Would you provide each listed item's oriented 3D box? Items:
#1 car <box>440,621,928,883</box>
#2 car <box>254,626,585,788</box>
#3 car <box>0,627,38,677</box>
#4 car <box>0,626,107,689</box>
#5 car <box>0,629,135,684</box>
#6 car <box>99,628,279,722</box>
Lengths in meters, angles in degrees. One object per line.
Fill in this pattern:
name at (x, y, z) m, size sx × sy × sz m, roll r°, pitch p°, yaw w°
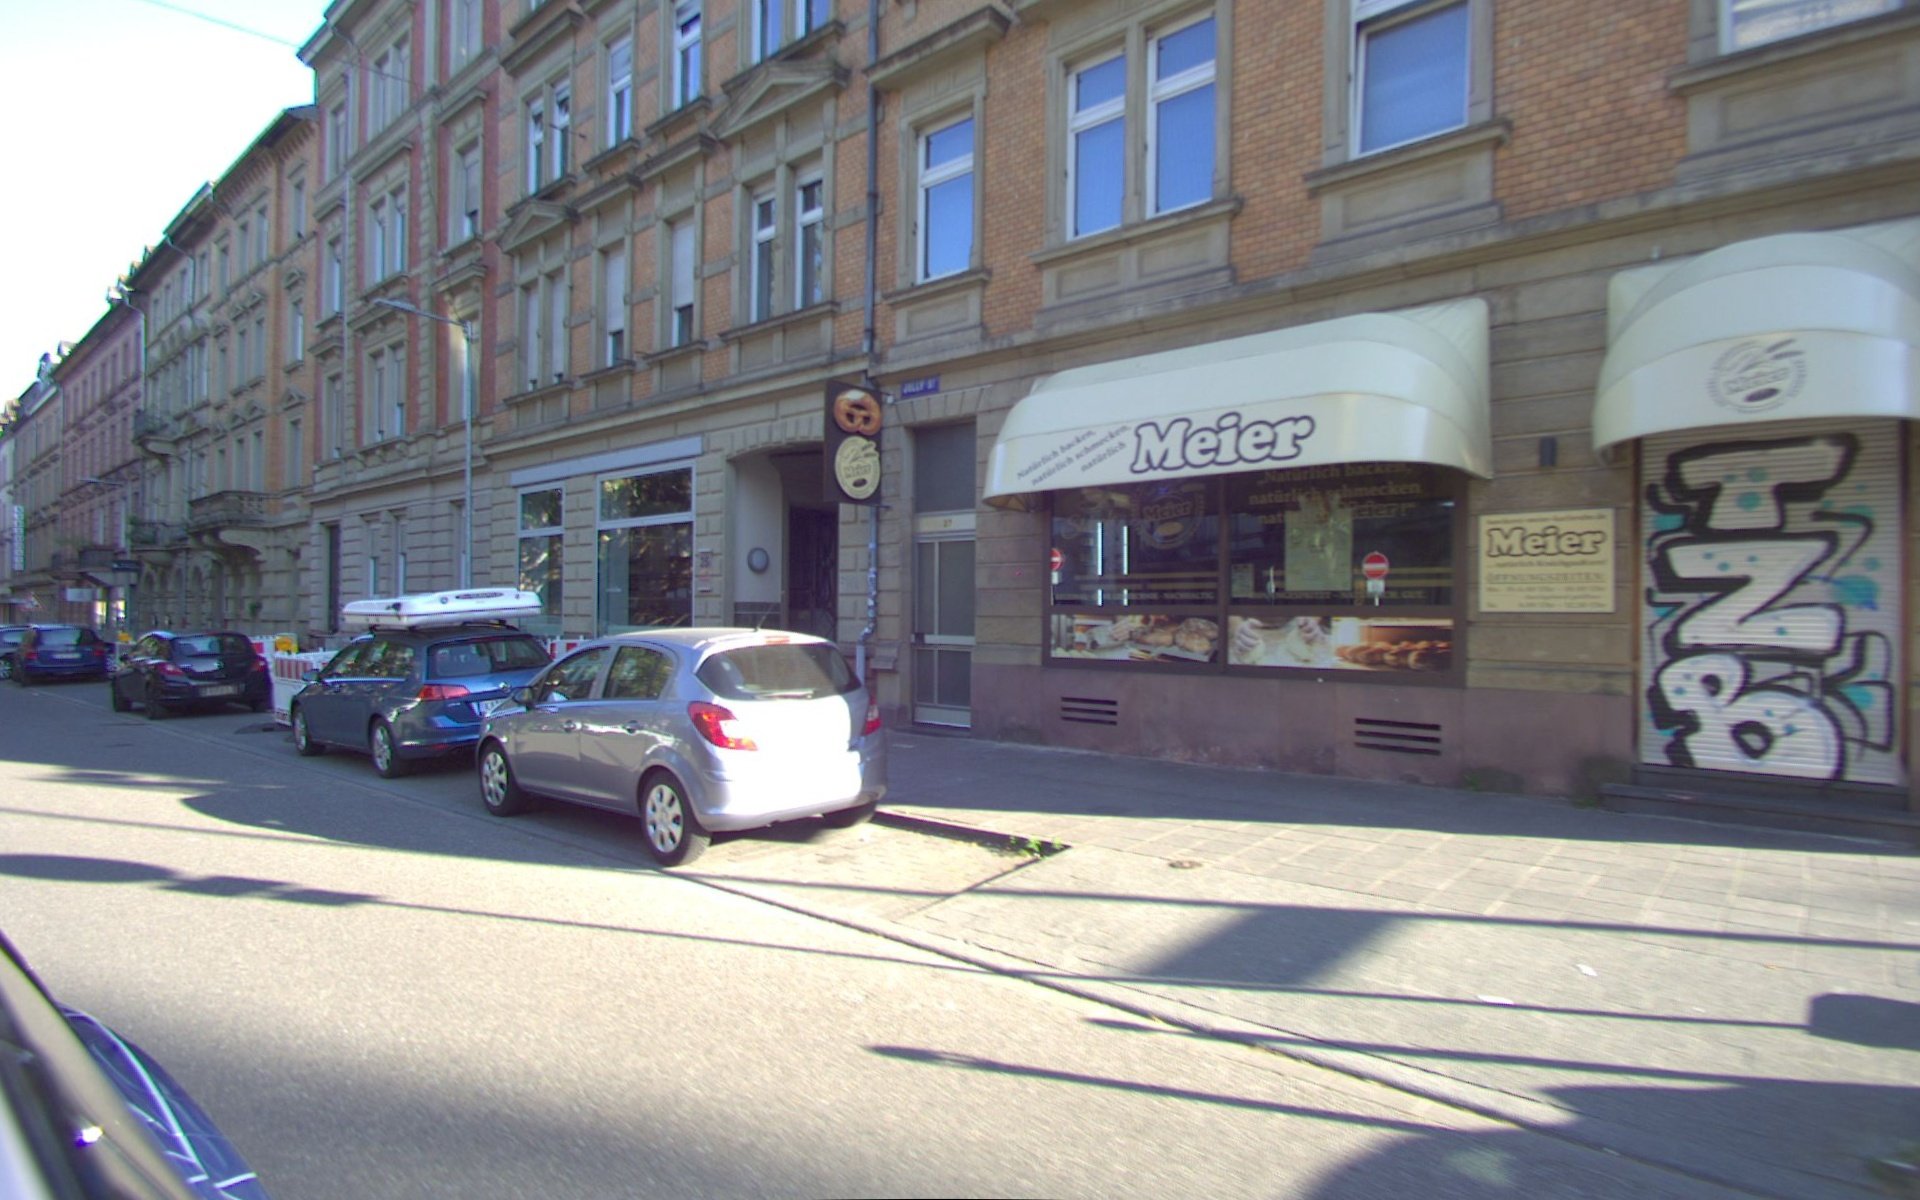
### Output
car at (-2.290, 0.927, 7.770) m, size 3.994 × 1.448 × 1.707 m, roll -2°, pitch 0°, yaw 42°
car at (-6.068, 1.027, 11.156) m, size 4.297 × 1.448 × 1.747 m, roll -2°, pitch -2°, yaw 40°
car at (-33.203, 1.785, 34.679) m, size 4.042 × 1.586 × 1.632 m, roll -2°, pitch 0°, yaw 37°
car at (-24.487, 1.497, 27.304) m, size 3.893 × 1.579 × 1.723 m, roll -2°, pitch -3°, yaw 42°
car at (-27.114, 1.635, 29.863) m, size 1.822 × 1.541 × 3.952 m, roll -1°, pitch -3°, yaw 35°
car at (-13.670, 1.242, 17.879) m, size 4.017 × 1.465 × 1.686 m, roll -2°, pitch -2°, yaw 40°
